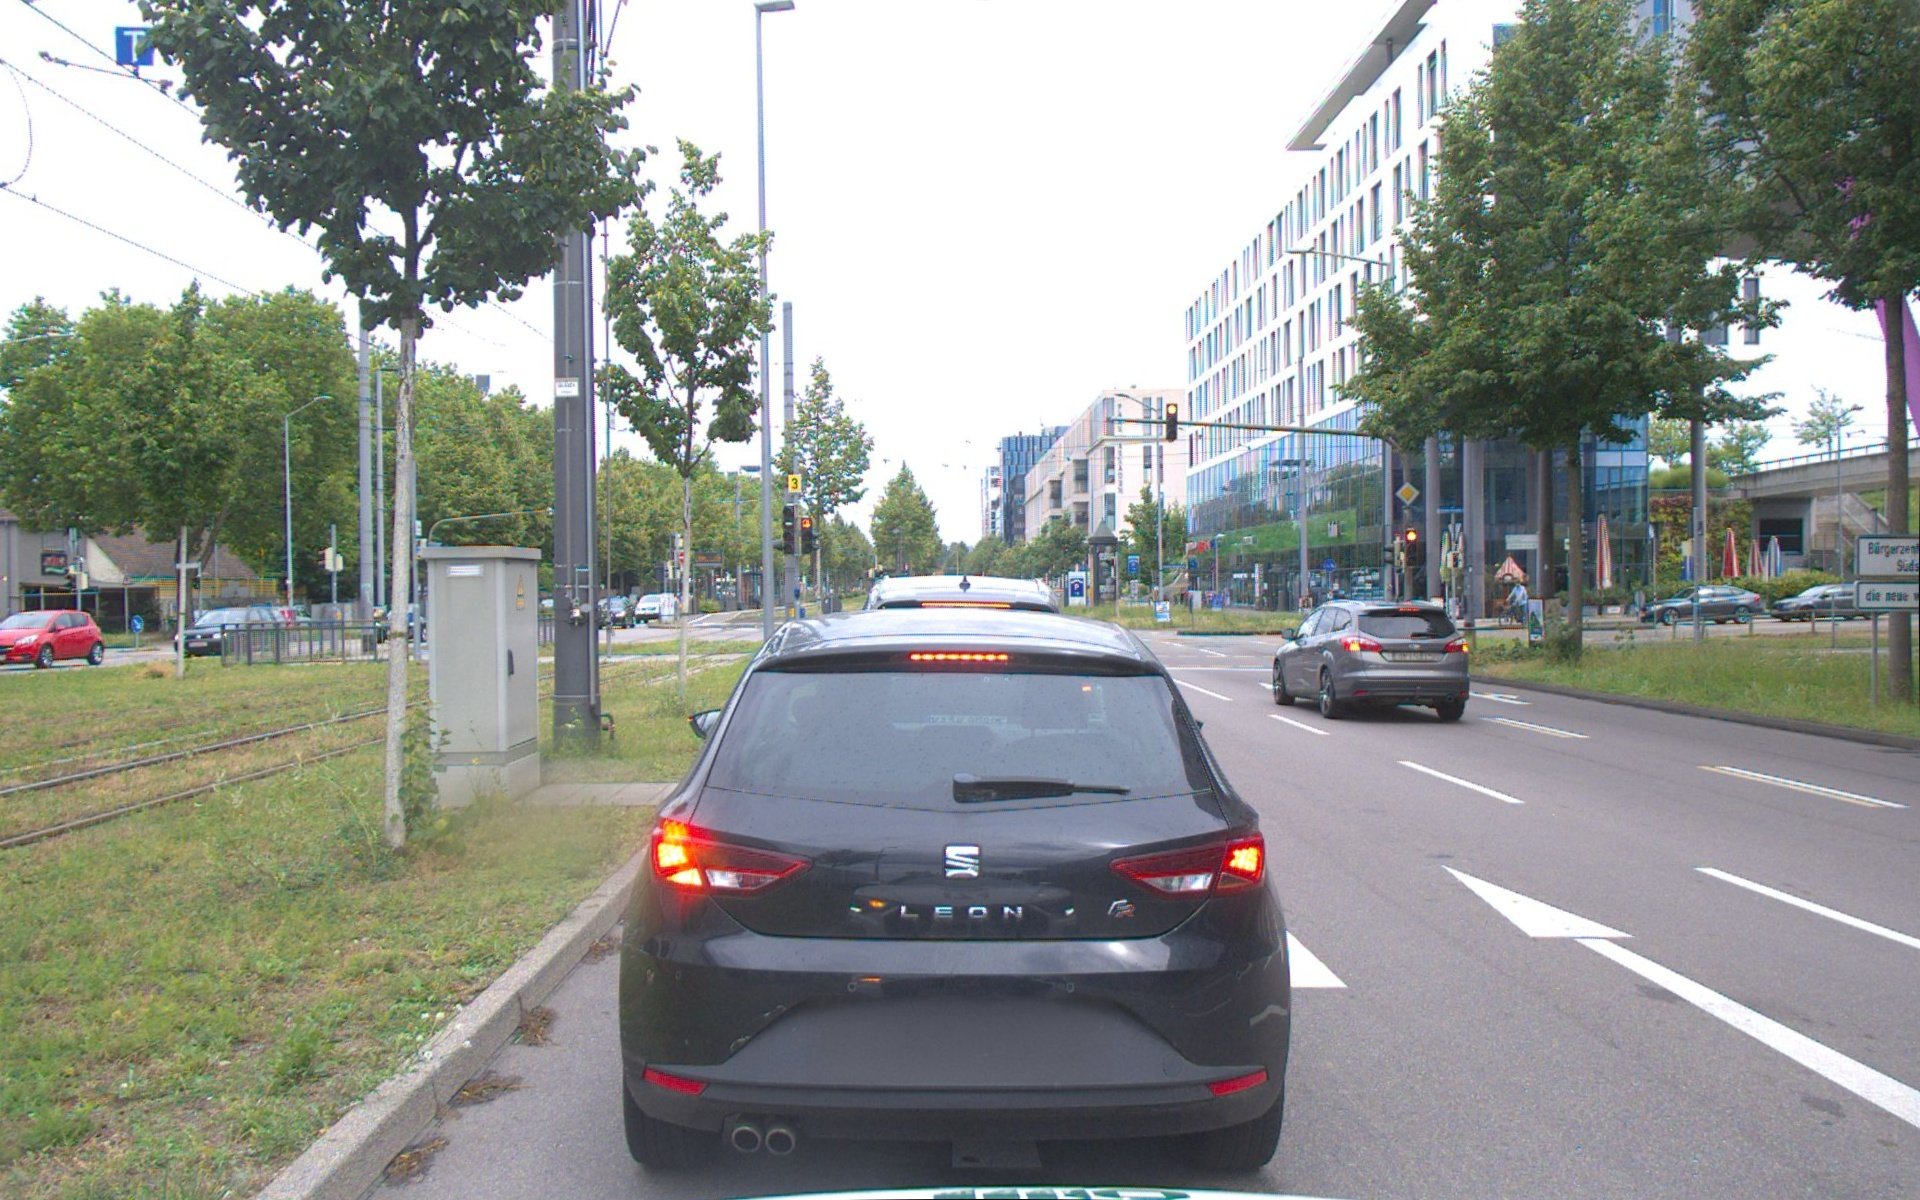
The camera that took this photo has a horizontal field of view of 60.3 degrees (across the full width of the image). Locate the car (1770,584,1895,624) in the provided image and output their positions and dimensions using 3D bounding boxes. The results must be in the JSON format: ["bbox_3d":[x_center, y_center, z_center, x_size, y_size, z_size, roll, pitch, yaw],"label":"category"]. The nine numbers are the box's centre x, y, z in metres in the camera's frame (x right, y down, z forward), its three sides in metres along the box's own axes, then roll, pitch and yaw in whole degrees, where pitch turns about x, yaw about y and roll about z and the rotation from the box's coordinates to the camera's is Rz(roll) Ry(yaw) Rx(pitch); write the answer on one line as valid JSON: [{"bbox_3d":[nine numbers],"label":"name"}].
[{"bbox_3d":[34.417,0.156,65.296,3.996,1.480,1.758,-1,0,1],"label":"car"}]

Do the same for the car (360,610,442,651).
[{"bbox_3d":[-20.777,1.095,61.593,1.765,1.401,4.056,-1,0,-2],"label":"car"}]

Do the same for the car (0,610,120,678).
[{"bbox_3d":[-23.846,1.108,43.015,1.759,1.598,4.328,-1,1,0],"label":"car"}]

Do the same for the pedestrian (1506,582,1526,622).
[{"bbox_3d":[22.402,0.077,66.626,0.602,1.632,0.619,-1,0,1],"label":"pedestrian"}]

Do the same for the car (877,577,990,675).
[{"bbox_3d":[-0.436,0.432,31.131,1.952,1.711,4.001,1,1,1],"label":"car"}]

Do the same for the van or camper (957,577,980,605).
[{"bbox_3d":[0.749,-0.859,153.587,2.066,2.397,4.923,0,2,0],"label":"van or camper"}]

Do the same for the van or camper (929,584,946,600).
[{"bbox_3d":[-2.524,-0.944,187.986,1.953,1.643,4.789,0,2,0],"label":"van or camper"}]

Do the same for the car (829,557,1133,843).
[{"bbox_3d":[0.097,0.569,11.693,1.766,1.653,3.999,-1,0,-1],"label":"car"}]

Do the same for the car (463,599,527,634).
[{"bbox_3d":[-22.858,0.767,81.481,1.774,1.616,5.076,-1,0,-1],"label":"car"}]

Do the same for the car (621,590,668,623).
[{"bbox_3d":[-17.905,0.346,94.122,1.953,1.780,4.199,-1,0,-2],"label":"car"}]

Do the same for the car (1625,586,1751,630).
[{"bbox_3d":[28.510,0.314,64.886,4.163,1.643,1.758,-1,0,1],"label":"car"}]

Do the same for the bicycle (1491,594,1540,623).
[{"bbox_3d":[22.359,0.340,66.627,1.755,1.104,0.618,-1,0,1],"label":"bicycle"}]

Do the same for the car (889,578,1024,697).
[{"bbox_3d":[0.024,0.522,26.077,1.952,1.711,4.001,1,1,2],"label":"car"}]

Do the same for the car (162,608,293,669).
[{"bbox_3d":[-20.305,1.028,46.048,1.630,1.451,4.744,-2,1,-2],"label":"car"}]

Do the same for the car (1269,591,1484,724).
[{"bbox_3d":[5.438,0.685,22.127,1.712,1.525,4.268,0,1,-1],"label":"car"}]

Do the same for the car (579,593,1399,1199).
[{"bbox_3d":[0.012,0.718,5.465,1.708,1.442,3.999,1,0,-2],"label":"car"}]
